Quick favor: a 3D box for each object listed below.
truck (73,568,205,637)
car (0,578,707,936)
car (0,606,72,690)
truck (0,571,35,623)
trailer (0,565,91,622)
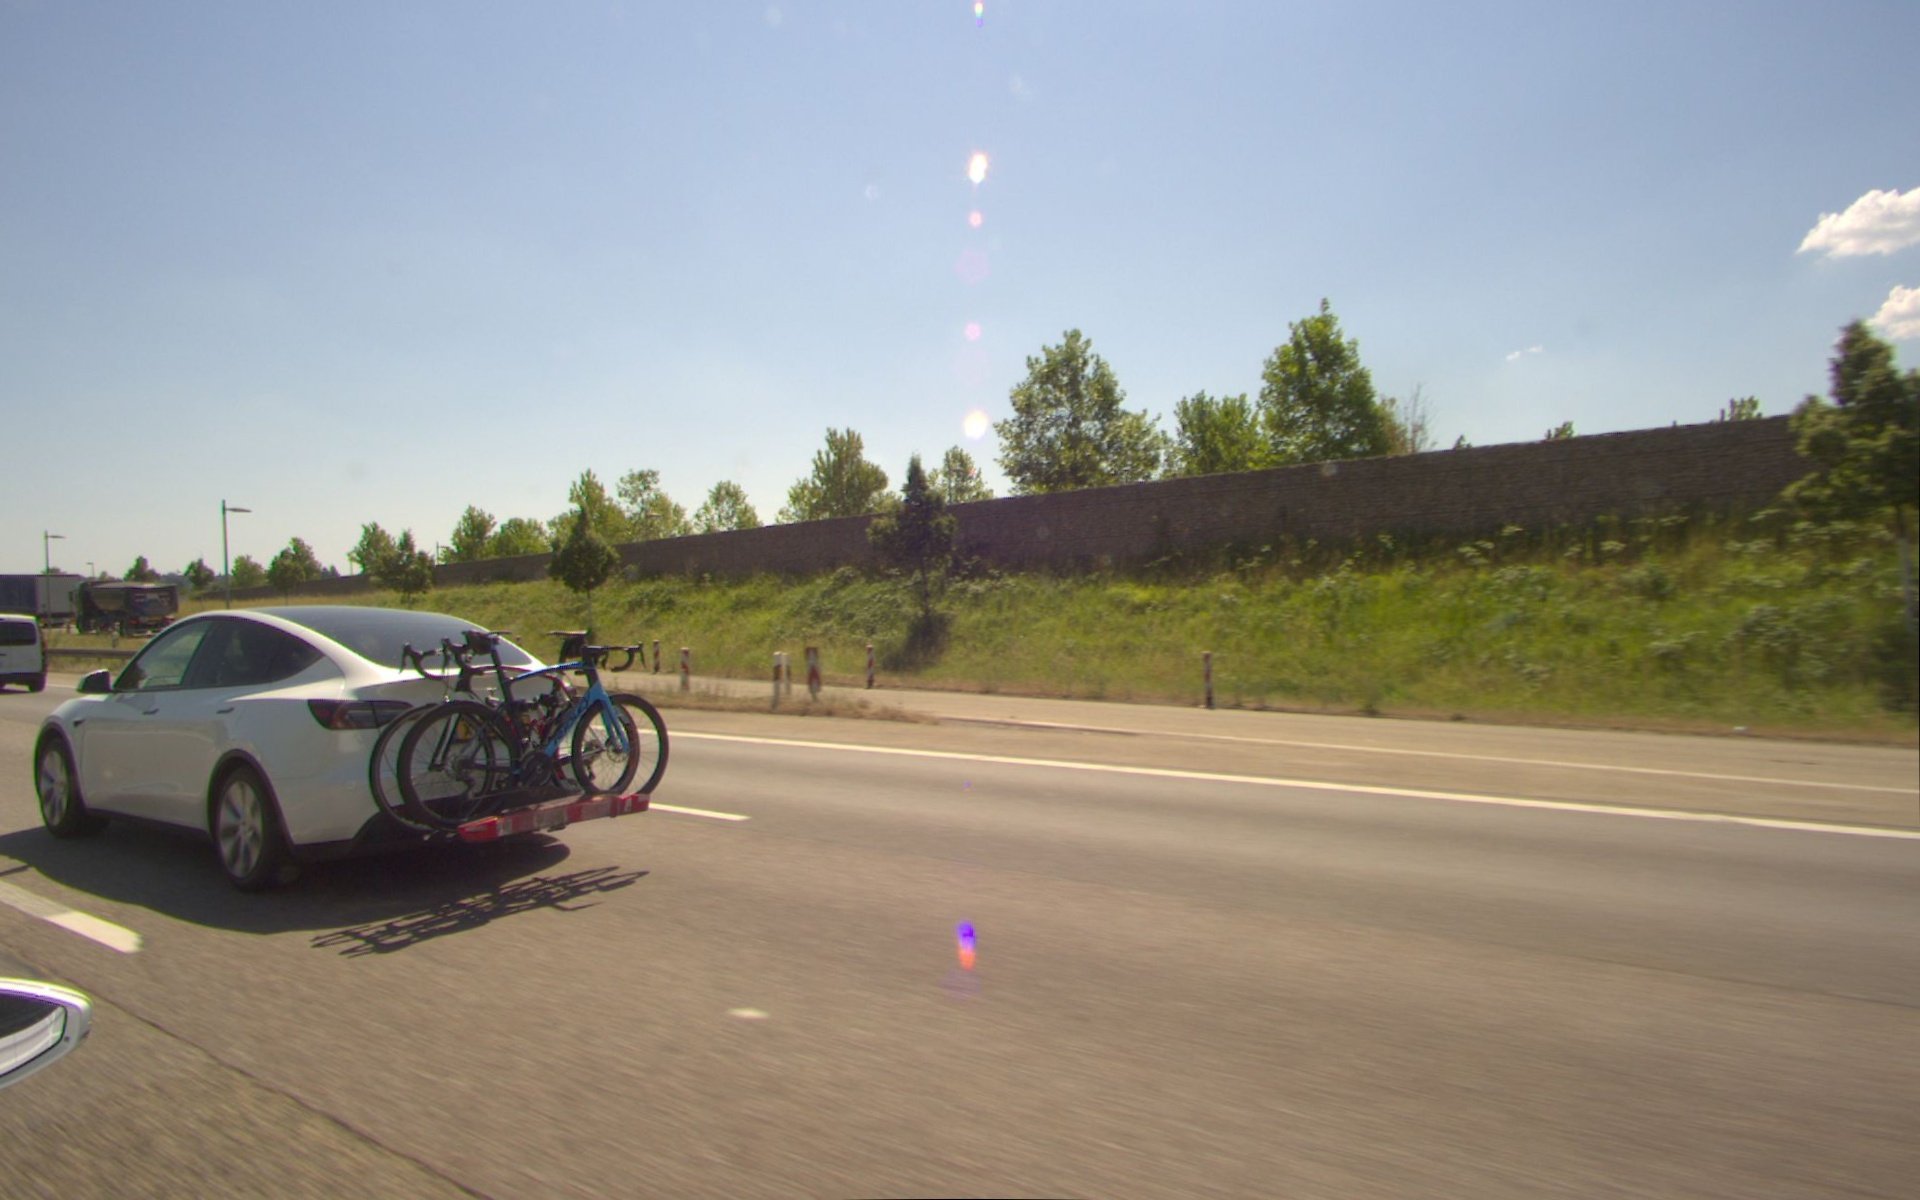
[{"bbox_3d":[-53.777,0.285,65.387,12.356,4.135,3.777,-1,-2,37],"label":"truck"},{"bbox_3d":[-4.436,0.791,6.944,5.520,1.657,1.947,-1,-2,32],"label":"car"},{"bbox_3d":[-23.026,1.108,23.623,4.117,1.862,1.947,-1,0,31],"label":"car"},{"bbox_3d":[-79.415,-0.228,82.561,6.305,4.135,3.048,-1,-1,31],"label":"truck"},{"bbox_3d":[-72.814,-0.343,78.506,14.051,4.135,3.048,-1,-1,32],"label":"trailer"}]
